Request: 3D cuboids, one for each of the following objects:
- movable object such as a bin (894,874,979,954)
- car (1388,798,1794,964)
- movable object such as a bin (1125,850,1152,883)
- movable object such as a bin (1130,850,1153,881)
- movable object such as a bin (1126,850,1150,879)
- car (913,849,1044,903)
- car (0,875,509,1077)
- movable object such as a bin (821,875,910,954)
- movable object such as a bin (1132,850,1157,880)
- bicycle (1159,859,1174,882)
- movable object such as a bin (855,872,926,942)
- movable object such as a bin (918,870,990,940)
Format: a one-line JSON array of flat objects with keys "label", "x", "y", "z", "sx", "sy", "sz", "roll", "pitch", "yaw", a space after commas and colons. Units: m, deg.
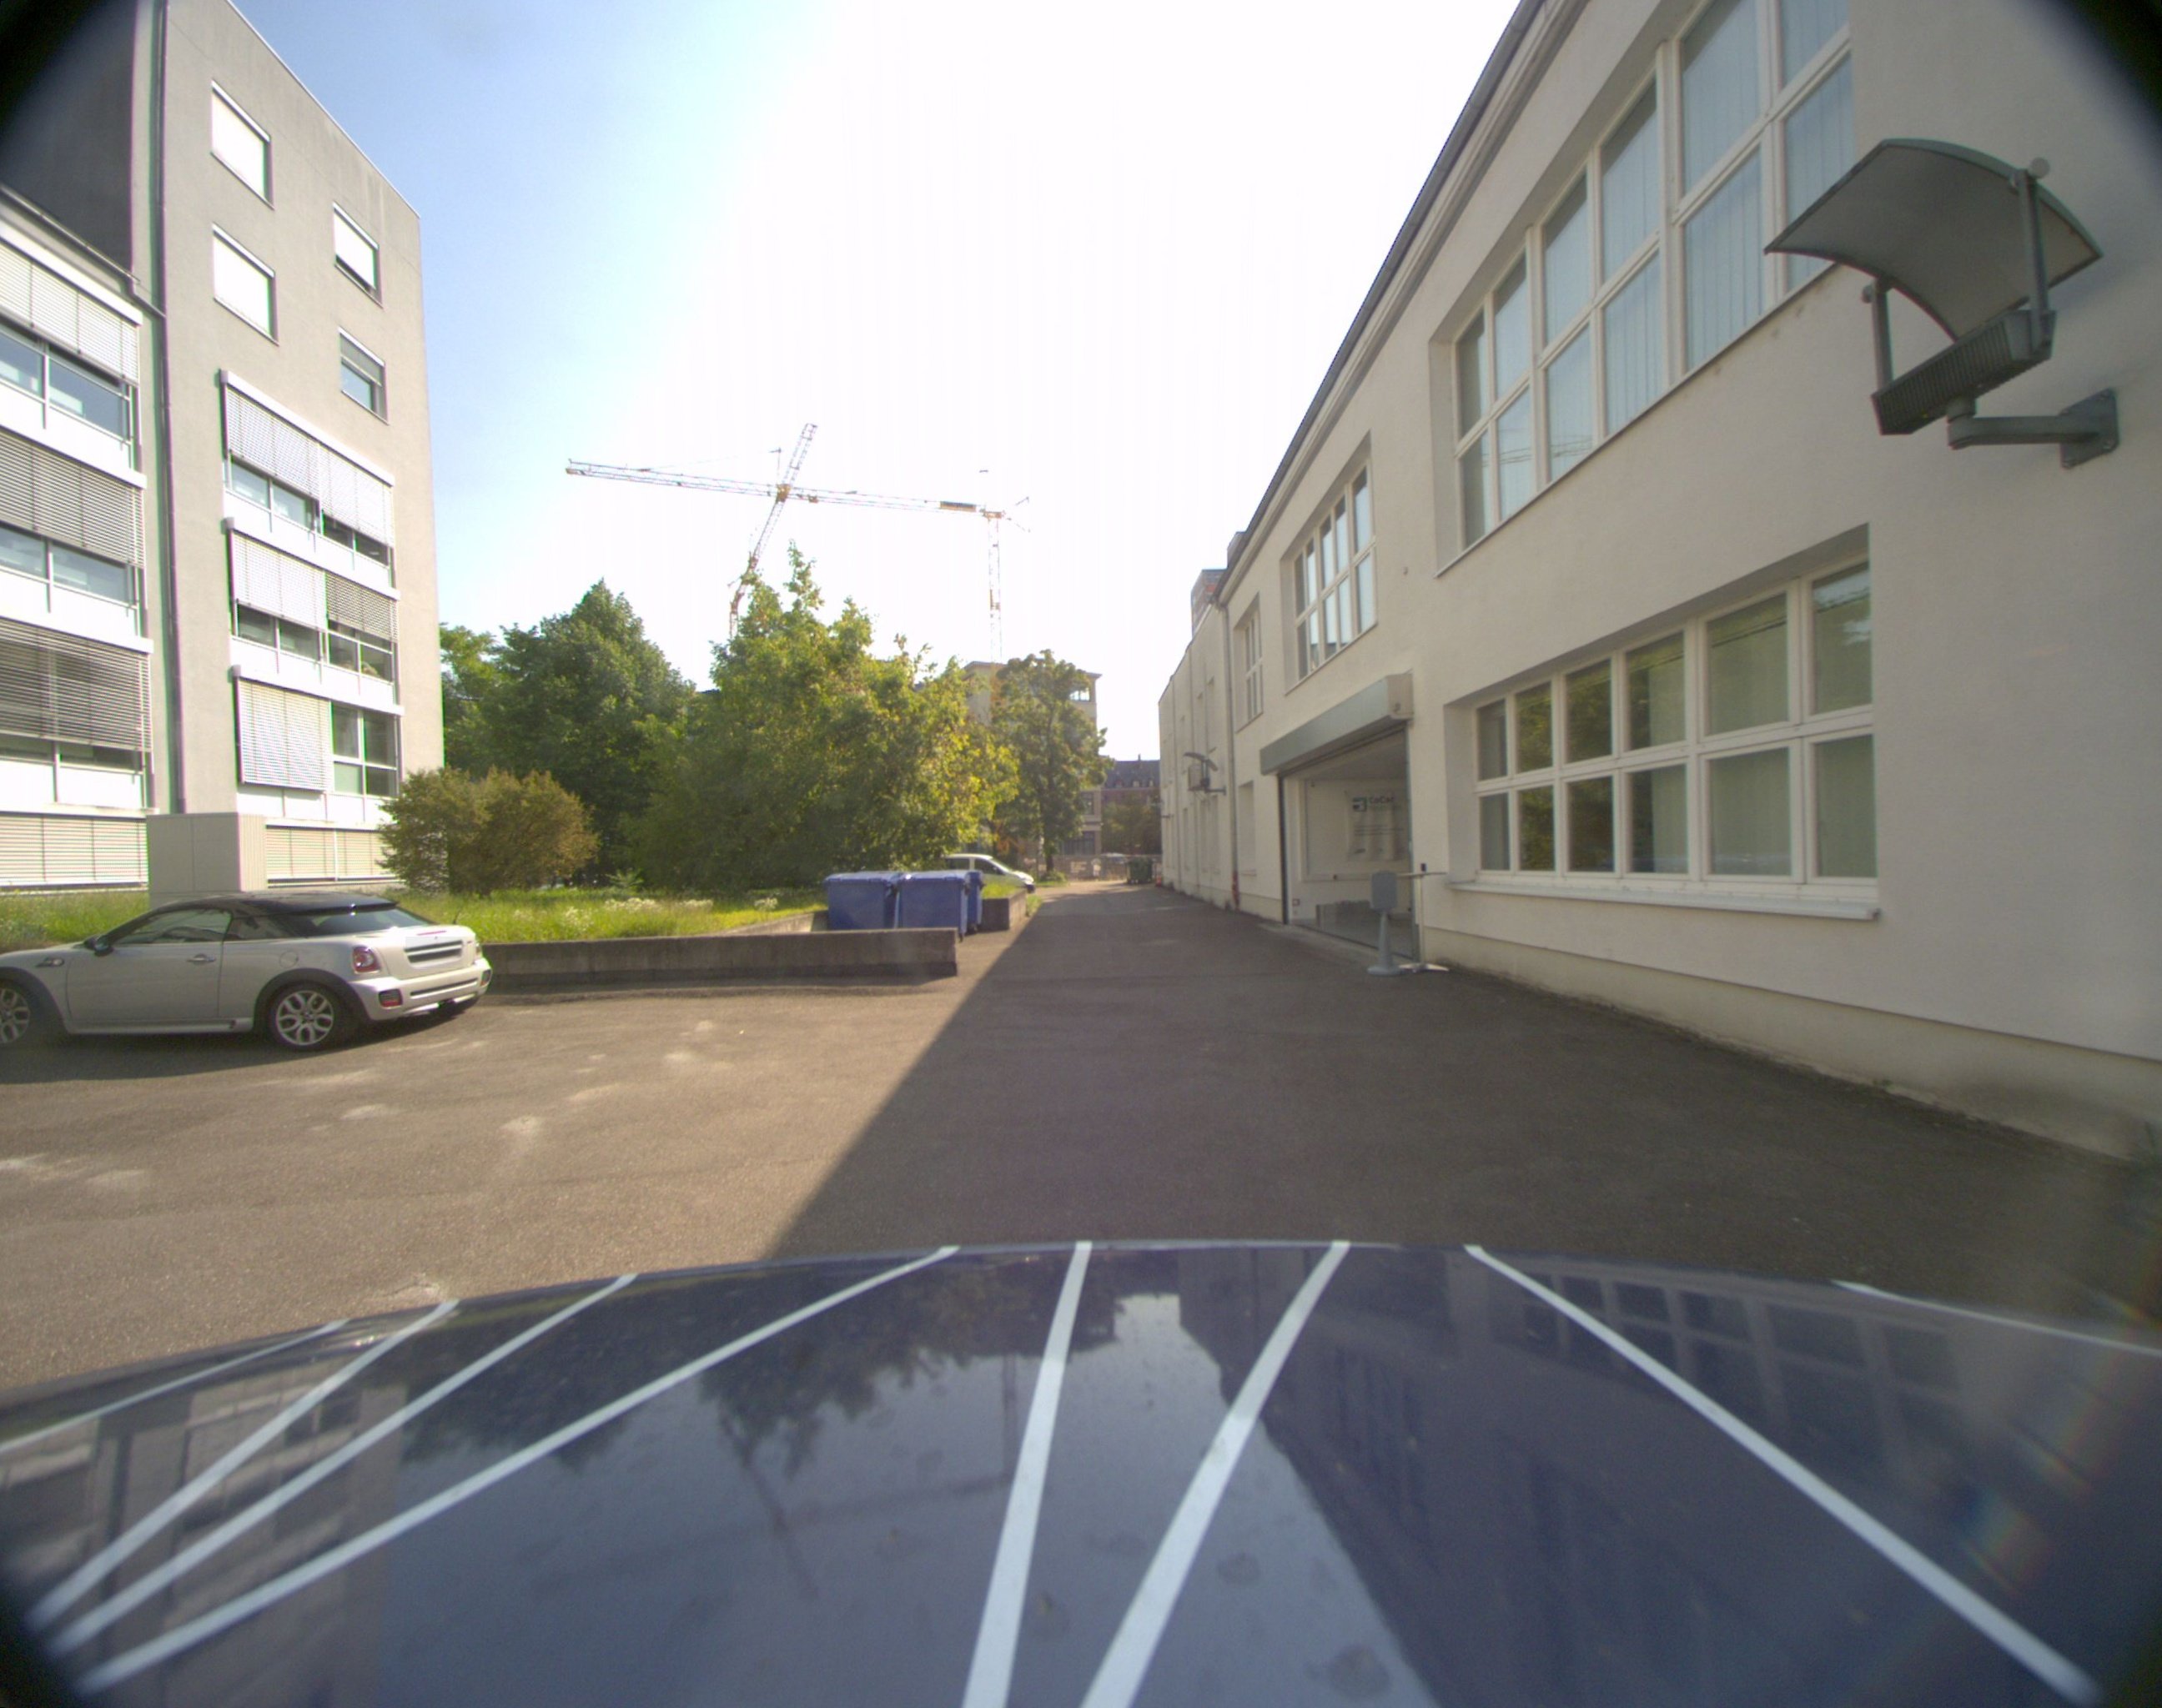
[{"label": "movable object such as a bin", "x": -2.646, "y": 1.086, "z": 14.115, "sx": 1.303, "sy": 1.333, "sz": 1.194, "roll": -2, "pitch": 1, "yaw": -1}, {"label": "car", "x": 7.499, "y": 0.369, "z": 11.571, "sx": 4.759, "sy": 2.080, "sz": 2.055, "roll": -3, "pitch": 1, "yaw": 0}, {"label": "movable object such as a bin", "x": 3.057, "y": 0.663, "z": 40.704, "sx": 1.184, "sy": 1.696, "sz": 1.376, "roll": -2, "pitch": 1, "yaw": -4}, {"label": "movable object such as a bin", "x": 3.365, "y": 0.634, "z": 42.506, "sx": 1.183, "sy": 1.696, "sz": 1.395, "roll": -2, "pitch": 1, "yaw": 4}, {"label": "movable object such as a bin", "x": 3.364, "y": 0.608, "z": 45.311, "sx": 1.184, "sy": 1.696, "sz": 1.376, "roll": -2, "pitch": 1, "yaw": -4}, {"label": "car", "x": -4.122, "y": 0.864, "z": 31.263, "sx": 4.969, "sy": 1.910, "sz": 2.044, "roll": -3, "pitch": 1, "yaw": 2}, {"label": "car", "x": -8.026, "y": 1.063, "z": 7.299, "sx": 3.629, "sy": 1.536, "sz": 1.802, "roll": 2, "pitch": 1, "yaw": -2}, {"label": "movable object such as a bin", "x": -3.976, "y": 1.097, "z": 14.152, "sx": 1.237, "sy": 1.333, "sz": 1.117, "roll": -2, "pitch": 1, "yaw": 3}, {"label": "movable object such as a bin", "x": 3.639, "y": 0.611, "z": 43.915, "sx": 1.184, "sy": 1.696, "sz": 1.376, "roll": -2, "pitch": 1, "yaw": -4}, {"label": "bicycle", "x": 4.748, "y": 0.899, "z": 42.243, "sx": 0.477, "sy": 1.206, "sz": 2.008, "roll": -2, "pitch": 1, "yaw": -2}, {"label": "movable object such as a bin", "x": -3.950, "y": 1.088, "z": 15.870, "sx": 1.230, "sy": 1.333, "sz": 1.076, "roll": -2, "pitch": 1, "yaw": -5}, {"label": "movable object such as a bin", "x": -2.616, "y": 1.037, "z": 15.867, "sx": 1.313, "sy": 1.333, "sz": 1.100, "roll": -2, "pitch": 1, "yaw": -3}]
